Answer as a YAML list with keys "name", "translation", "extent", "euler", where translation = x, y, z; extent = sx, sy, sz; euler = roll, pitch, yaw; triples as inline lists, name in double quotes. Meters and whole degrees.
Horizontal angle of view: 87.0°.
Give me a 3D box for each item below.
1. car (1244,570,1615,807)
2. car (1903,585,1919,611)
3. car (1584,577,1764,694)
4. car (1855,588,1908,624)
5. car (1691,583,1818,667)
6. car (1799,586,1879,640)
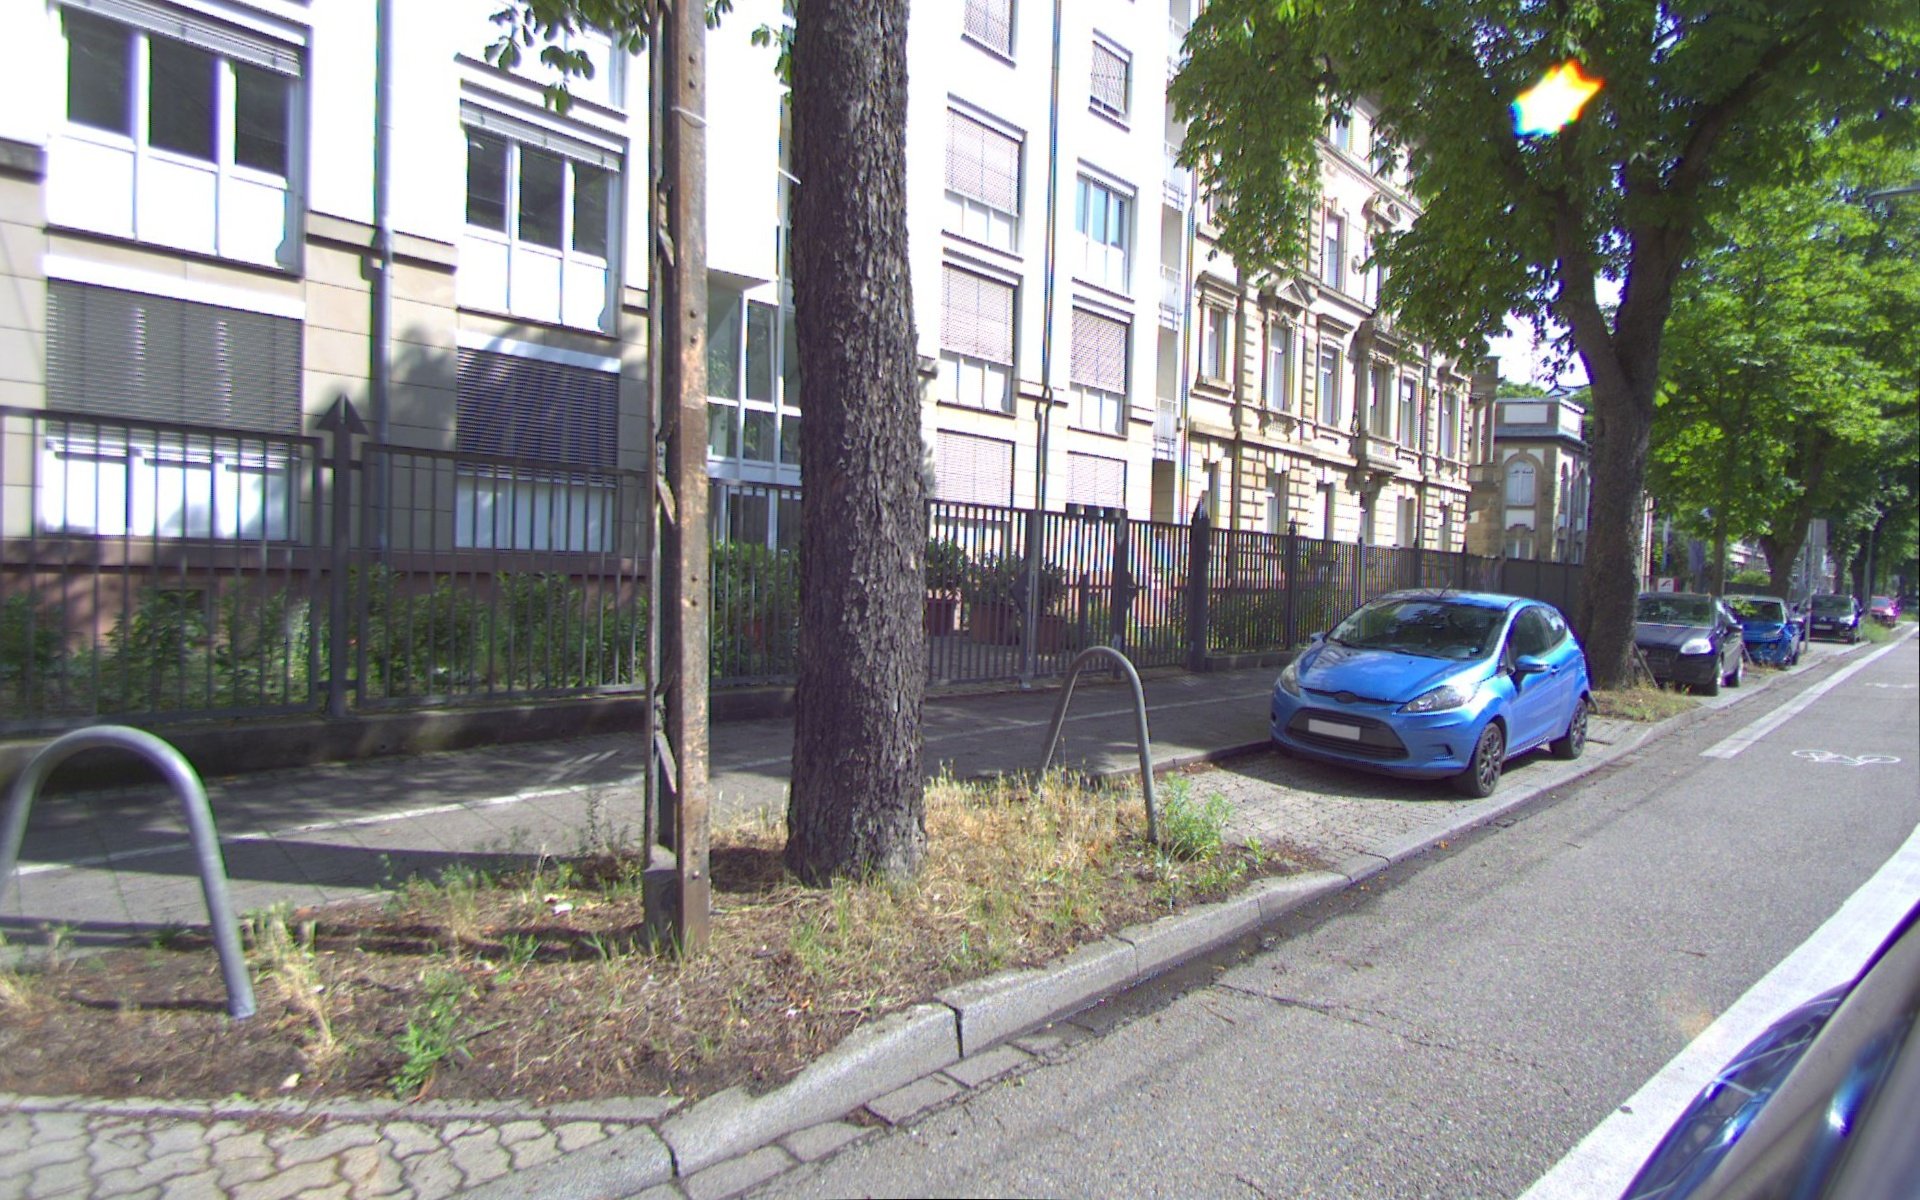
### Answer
- name: "car"
  translation: [4.147, 0.582, 8.689]
  extent: [3.601, 1.493, 1.644]
  euler: [0, 5, -45]
- name: "car"
  translation: [63.773, -0.115, 67.037]
  extent: [1.741, 1.592, 3.867]
  euler: [7, 5, 44]
- name: "car"
  translation: [11.286, 0.473, 15.909]
  extent: [1.676, 1.493, 3.603]
  euler: [7, 5, 44]
- name: "car"
  translation: [46.180, 0.291, 50.704]
  extent: [1.741, 1.592, 3.867]
  euler: [7, 5, 44]
- name: "car"
  translation: [17.021, 0.471, 21.619]
  extent: [1.676, 1.493, 3.603]
  euler: [7, 5, 44]
- name: "car"
  translation: [30.006, 0.395, 34.514]
  extent: [1.741, 1.592, 3.602]
  euler: [7, 5, 44]
